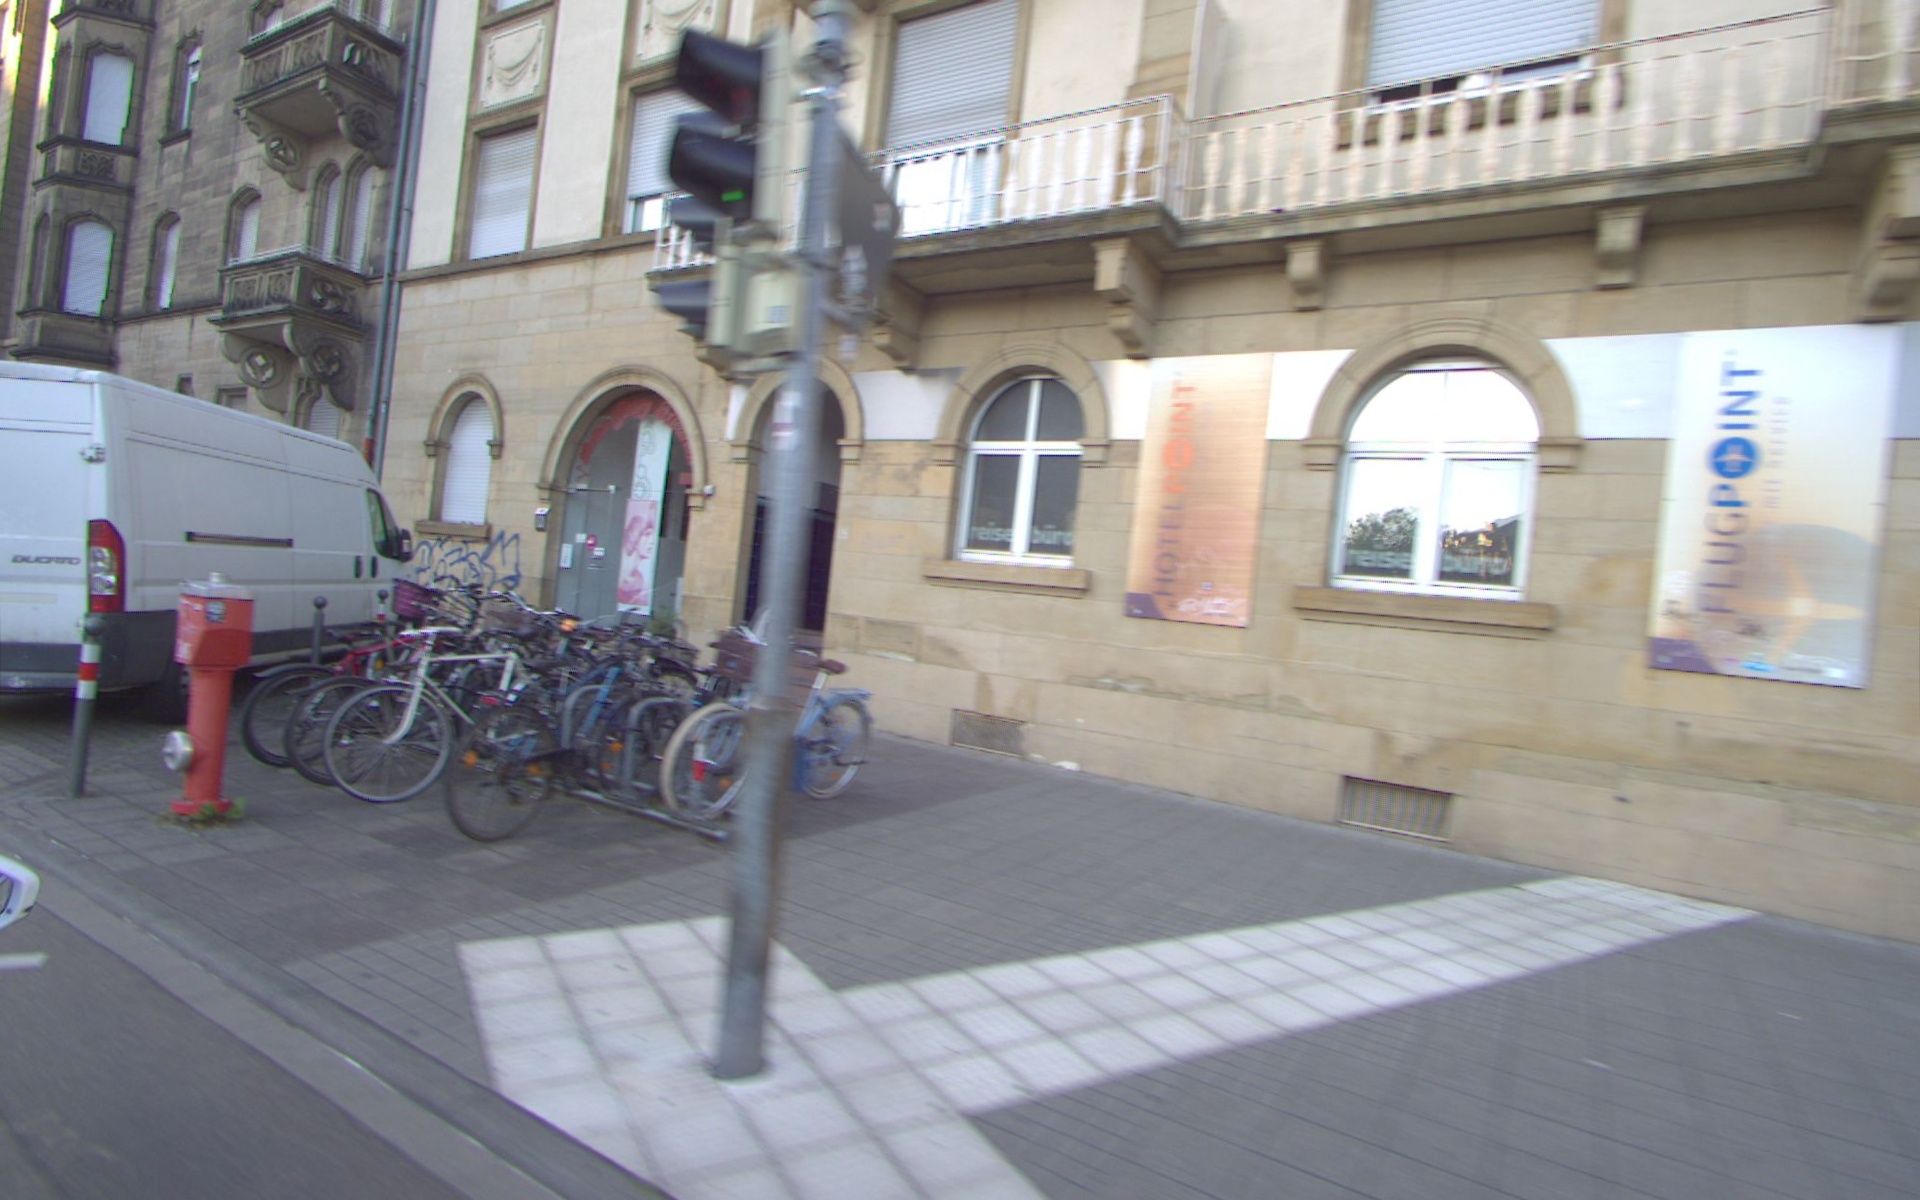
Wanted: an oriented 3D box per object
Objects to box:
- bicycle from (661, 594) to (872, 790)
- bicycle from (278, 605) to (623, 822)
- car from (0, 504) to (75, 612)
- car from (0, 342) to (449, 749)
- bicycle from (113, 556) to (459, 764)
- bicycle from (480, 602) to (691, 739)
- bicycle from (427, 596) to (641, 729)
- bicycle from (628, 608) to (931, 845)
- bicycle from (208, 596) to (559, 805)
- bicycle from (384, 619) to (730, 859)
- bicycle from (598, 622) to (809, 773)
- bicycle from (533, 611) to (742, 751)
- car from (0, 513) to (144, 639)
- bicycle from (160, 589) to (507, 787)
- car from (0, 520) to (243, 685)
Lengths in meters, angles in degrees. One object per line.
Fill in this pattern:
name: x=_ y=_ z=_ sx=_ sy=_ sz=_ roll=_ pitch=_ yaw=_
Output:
bicycle: x=-1.416 y=0.644 z=7.727 sx=0.532 sy=1.290 sz=1.774 roll=6 pitch=2 yaw=27
bicycle: x=-3.060 y=0.620 z=6.310 sx=0.532 sy=1.102 sz=1.999 roll=6 pitch=2 yaw=23
car: x=-14.682 y=-0.652 z=13.964 sx=1.687 sy=1.564 sz=3.910 roll=4 pitch=0 yaw=-9
car: x=-7.008 y=-0.401 z=9.307 sx=2.157 sy=2.584 sz=5.877 roll=4 pitch=0 yaw=-8
bicycle: x=-4.595 y=0.377 z=7.062 sx=0.532 sy=1.220 sz=1.999 roll=6 pitch=2 yaw=23
bicycle: x=-3.182 y=0.568 z=8.735 sx=0.532 sy=1.023 sz=1.774 roll=6 pitch=2 yaw=27
bicycle: x=-3.708 y=0.520 z=8.922 sx=0.532 sy=1.023 sz=1.774 roll=6 pitch=2 yaw=27
bicycle: x=-1.046 y=0.716 z=6.368 sx=0.635 sy=1.216 sz=1.996 roll=6 pitch=1 yaw=32
bicycle: x=-3.602 y=0.570 z=6.522 sx=0.532 sy=1.102 sz=1.999 roll=6 pitch=2 yaw=23
bicycle: x=-2.198 y=0.686 z=5.821 sx=0.532 sy=1.102 sz=1.999 roll=6 pitch=2 yaw=23
bicycle: x=-1.980 y=0.716 z=8.037 sx=0.532 sy=1.023 sz=1.774 roll=6 pitch=2 yaw=27
bicycle: x=-2.669 y=0.638 z=8.530 sx=0.532 sy=1.023 sz=1.774 roll=6 pitch=2 yaw=27
car: x=-12.124 y=-0.341 z=12.029 sx=1.841 sy=1.465 sz=3.911 roll=4 pitch=0 yaw=-7
bicycle: x=-4.100 y=0.525 z=6.804 sx=0.532 sy=1.102 sz=1.999 roll=6 pitch=2 yaw=23
car: x=-9.625 y=-0.067 z=10.141 sx=1.964 sy=1.471 sz=4.250 roll=5 pitch=0 yaw=-6
